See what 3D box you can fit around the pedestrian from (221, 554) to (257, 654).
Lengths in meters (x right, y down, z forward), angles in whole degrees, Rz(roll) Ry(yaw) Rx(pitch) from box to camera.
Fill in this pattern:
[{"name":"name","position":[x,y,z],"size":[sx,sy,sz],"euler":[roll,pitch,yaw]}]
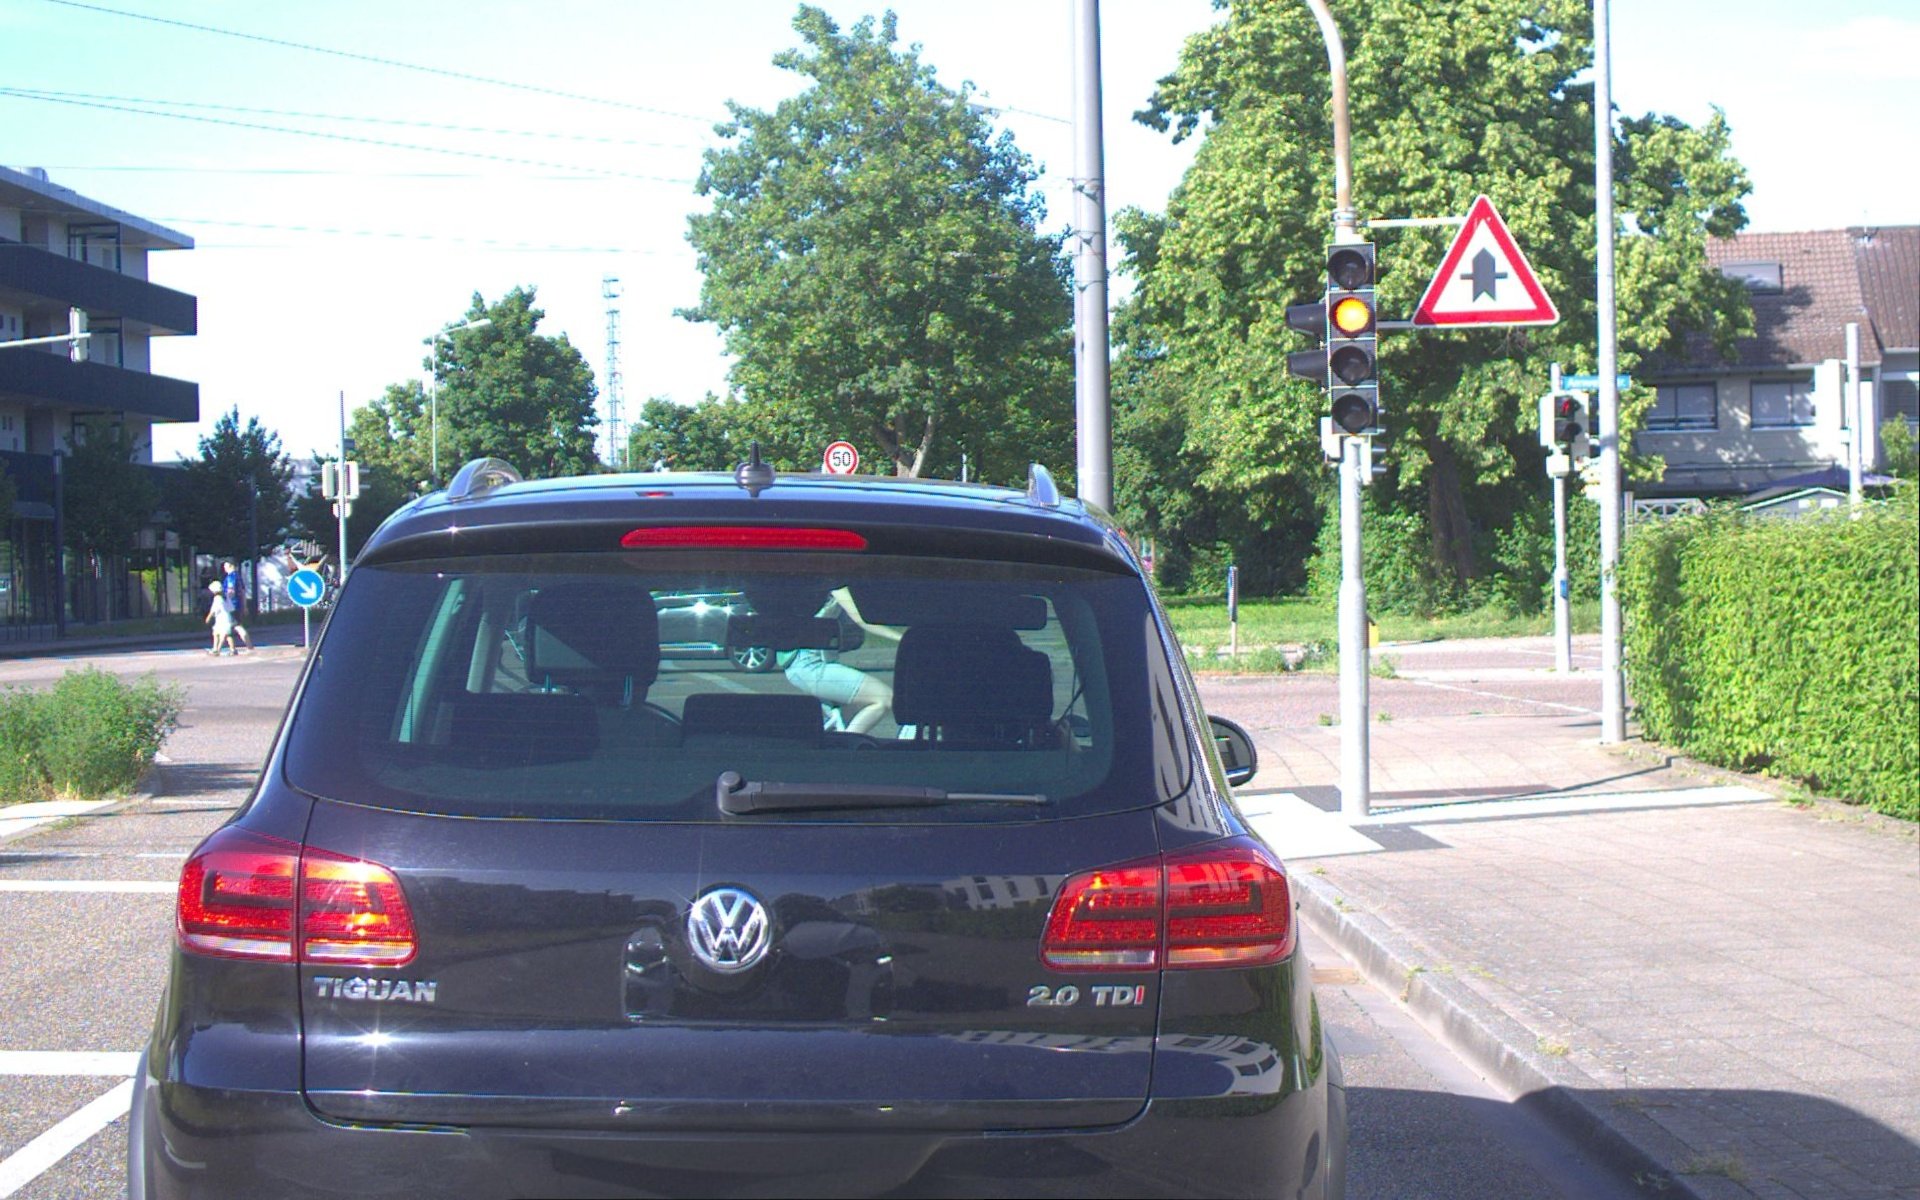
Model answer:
[{"name":"pedestrian","position":[-12.629,0.074,60.261],"size":[0.543,1.738,0.518],"euler":[1,0,-6]}]

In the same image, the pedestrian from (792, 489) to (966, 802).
[{"name":"pedestrian","position":[-0.433,0.228,18.118],"size":[0.851,1.588,0.914],"euler":[-2,1,-2]}]

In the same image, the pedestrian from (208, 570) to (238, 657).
[{"name":"pedestrian","position":[-12.788,0.225,59.676],"size":[0.441,1.498,0.518],"euler":[1,0,-6]}]

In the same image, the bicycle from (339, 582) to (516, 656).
[{"name":"bicycle","position":[-7.655,0.271,49.456],"size":[2.410,0.999,0.640],"euler":[-1,1,7]}]

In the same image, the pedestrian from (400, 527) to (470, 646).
[{"name":"pedestrian","position":[-7.550,-0.200,49.438],"size":[0.813,1.686,0.620],"euler":[-1,1,7]}]

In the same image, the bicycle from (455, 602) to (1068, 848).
[{"name":"bicycle","position":[-1.026,0.642,18.124],"size":[3.115,1.169,0.932],"euler":[-2,1,-1]}]

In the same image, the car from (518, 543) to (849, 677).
[{"name":"car","position":[-3.644,0.112,45.666],"size":[3.988,1.678,1.999],"euler":[1,0,10]}]

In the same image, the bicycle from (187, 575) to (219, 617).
[{"name":"bicycle","position":[-24.358,-0.120,110.645],"size":[0.630,1.327,1.913],"euler":[1,1,-1]}]

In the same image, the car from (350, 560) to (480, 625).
[{"name":"car","position":[-13.755,-0.199,86.986],"size":[1.994,1.569,4.337],"euler":[1,1,9]}]

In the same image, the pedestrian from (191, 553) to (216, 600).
[{"name":"pedestrian","position":[-24.347,-0.744,110.659],"size":[0.642,1.504,0.596],"euler":[1,0,0]}]

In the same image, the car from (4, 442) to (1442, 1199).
[{"name":"car","position":[-0.336,0.602,6.502],"size":[1.869,1.632,4.000],"euler":[1,1,-1]}]
